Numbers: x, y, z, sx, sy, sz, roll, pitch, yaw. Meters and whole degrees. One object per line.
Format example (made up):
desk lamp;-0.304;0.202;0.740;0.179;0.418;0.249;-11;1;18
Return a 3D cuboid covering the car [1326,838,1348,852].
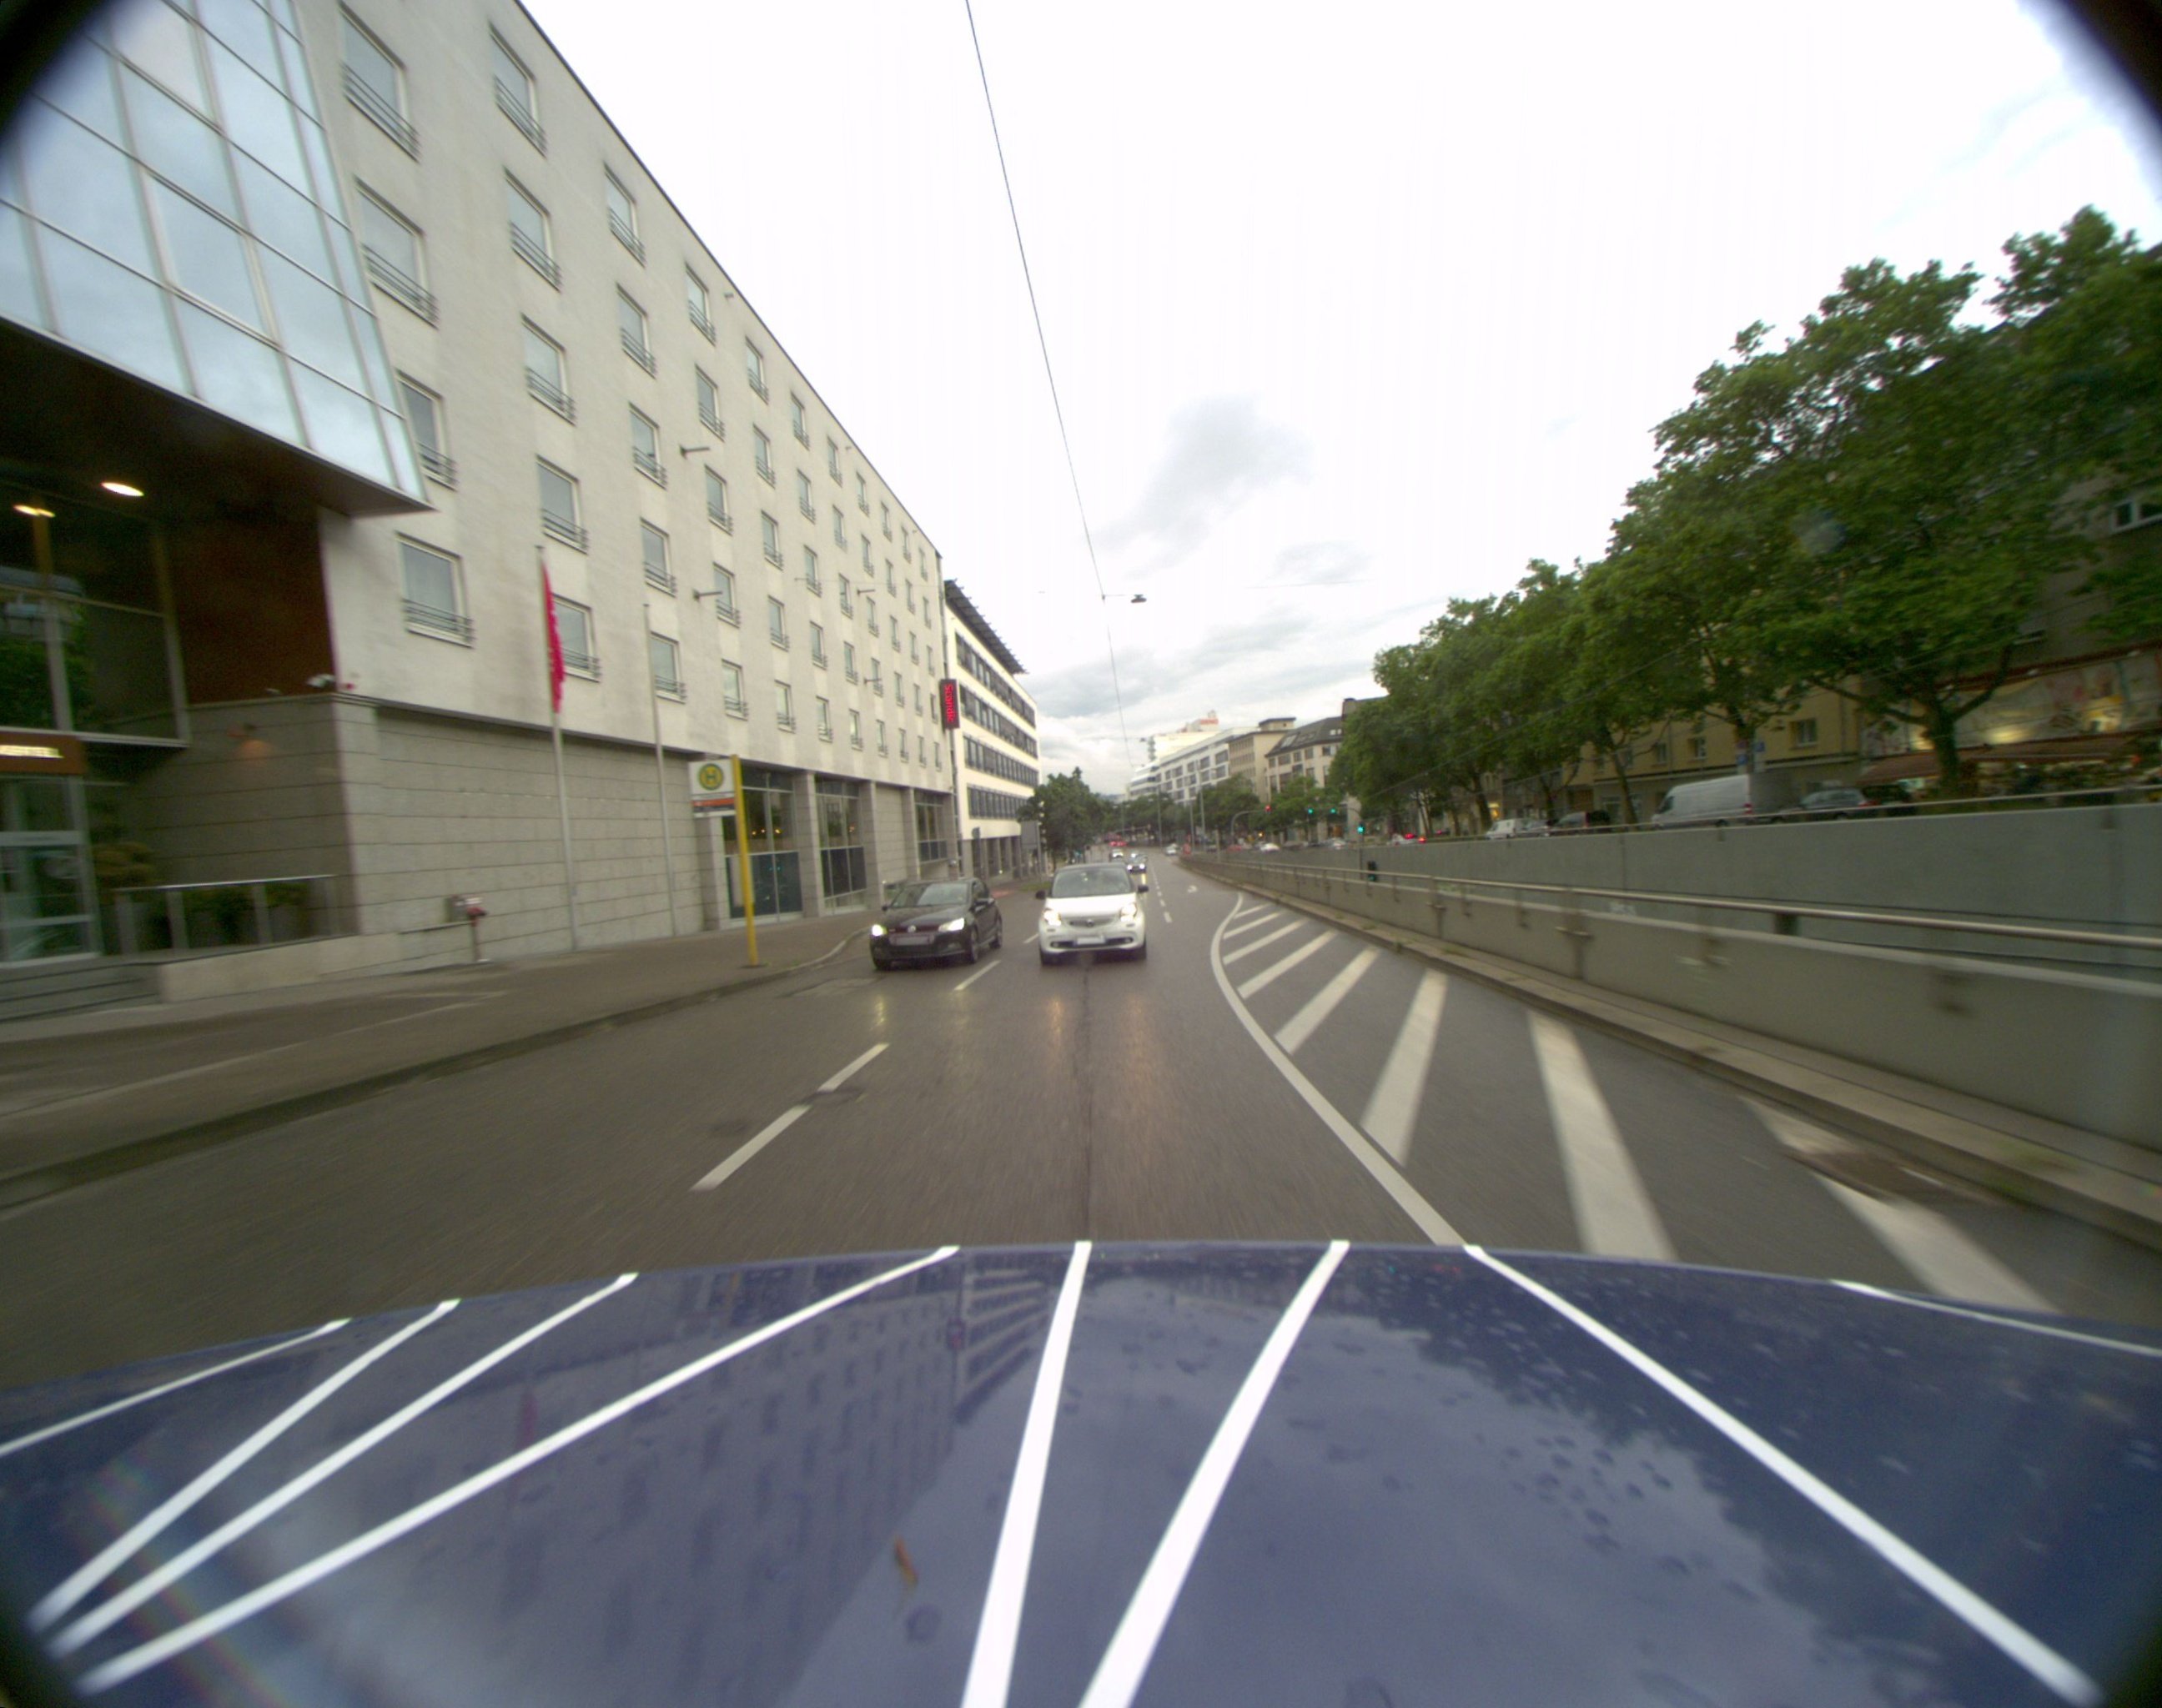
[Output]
car;33.004;-1.194;98.052;1.798;1.570;4.019;-6;-1;7

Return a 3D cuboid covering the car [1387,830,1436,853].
car;24.940;-0.890;57.536;2.030;1.501;4.885;-6;-1;8

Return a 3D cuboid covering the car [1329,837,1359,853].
car;28.613;-0.930;82.855;1.850;1.501;4.823;-6;-1;5

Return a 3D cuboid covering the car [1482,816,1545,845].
car;31.371;-1.627;55.269;1.881;1.754;4.902;-6;-1;3

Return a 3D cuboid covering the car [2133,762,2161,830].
car;25.948;-1.449;16.049;1.798;1.561;4.210;-6;-1;8

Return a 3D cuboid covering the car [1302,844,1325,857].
car;29.521;-0.487;96.547;1.798;1.501;4.345;-5;1;5

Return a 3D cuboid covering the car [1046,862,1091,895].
car;-0.602;1.259;40.202;1.750;1.433;3.708;-6;1;7

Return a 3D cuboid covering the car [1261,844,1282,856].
car;29.027;-0.628;115.972;1.799;1.760;4.730;-5;1;-3

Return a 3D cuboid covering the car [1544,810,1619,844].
car;29.677;-1.566;45.225;1.798;1.719;4.207;-6;-1;5

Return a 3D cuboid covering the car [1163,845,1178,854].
car;17.457;-0.871;148.853;1.800;1.733;3.997;-6;1;-7

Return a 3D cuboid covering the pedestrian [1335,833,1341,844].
pedestrian;42.766;-2.611;126.391;0.604;1.774;0.526;-6;1;-2

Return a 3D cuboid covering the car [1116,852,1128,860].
car;8.748;0.360;163.330;1.800;1.501;3.997;-6;1;-7

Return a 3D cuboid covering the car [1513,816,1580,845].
car;30.521;-1.498;49.966;1.881;1.574;4.475;-6;-1;6

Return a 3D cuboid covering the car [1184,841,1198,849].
car;24.385;-1.889;168.206;1.800;1.552;3.997;-5;1;-9

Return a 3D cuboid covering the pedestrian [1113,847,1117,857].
pedestrian;6.457;-0.311;143.213;0.604;1.792;0.587;-6;1;-2

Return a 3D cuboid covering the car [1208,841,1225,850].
car;26.168;-1.633;147.129;1.799;1.548;4.832;-5;1;-6

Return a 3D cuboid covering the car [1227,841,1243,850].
car;27.096;-1.447;133.723;1.589;1.392;3.878;-5;1;-7

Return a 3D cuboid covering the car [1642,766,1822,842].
car;28.402;-2.043;33.624;2.457;2.646;6.935;-6;-1;7

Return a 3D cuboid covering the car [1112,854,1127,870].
car;5.349;1.042;105.203;1.798;1.934;4.000;-6;1;3

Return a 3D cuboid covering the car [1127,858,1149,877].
car;5.258;1.209;69.474;1.798;1.501;4.001;-6;1;5

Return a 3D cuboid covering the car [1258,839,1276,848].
car;33.673;-1.896;137.731;1.799;1.501;3.940;-6;1;-7

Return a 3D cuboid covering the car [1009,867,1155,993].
car;0.198;1.048;12.029;1.798;1.527;4.002;-5;-1;6

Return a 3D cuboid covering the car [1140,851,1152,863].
car;11.506;0.479;135.663;1.798;1.934;4.000;-6;1;3

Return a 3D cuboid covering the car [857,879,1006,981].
car;-2.476;1.232;13.536;1.677;1.391;3.850;-2;0;3

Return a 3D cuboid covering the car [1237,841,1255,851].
car;30.071;-1.415;138.254;1.800;1.501;3.997;-5;1;-9

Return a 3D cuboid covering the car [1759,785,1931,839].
car;27.253;-1.431;27.369;1.798;1.501;4.674;-6;-1;7

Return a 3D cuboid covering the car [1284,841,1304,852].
car;32.837;-1.207;117.258;1.799;1.501;3.999;-6;1;-2

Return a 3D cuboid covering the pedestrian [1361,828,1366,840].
pedestrian;44.473;-3.130;119.614;0.590;1.799;0.674;-6;1;12

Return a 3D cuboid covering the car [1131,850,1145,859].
car;11.243;0.070;150.084;1.800;1.501;3.997;-6;1;-7

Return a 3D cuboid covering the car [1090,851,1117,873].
car;2.012;0.681;67.062;1.798;1.656;4.001;-6;1;7

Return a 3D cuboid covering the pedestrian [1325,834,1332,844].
pedestrian;42.129;-2.548;129.293;0.835;1.774;0.616;-6;1;-2

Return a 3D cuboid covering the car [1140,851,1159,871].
car;7.545;0.745;83.467;1.798;2.021;4.001;-6;1;5
